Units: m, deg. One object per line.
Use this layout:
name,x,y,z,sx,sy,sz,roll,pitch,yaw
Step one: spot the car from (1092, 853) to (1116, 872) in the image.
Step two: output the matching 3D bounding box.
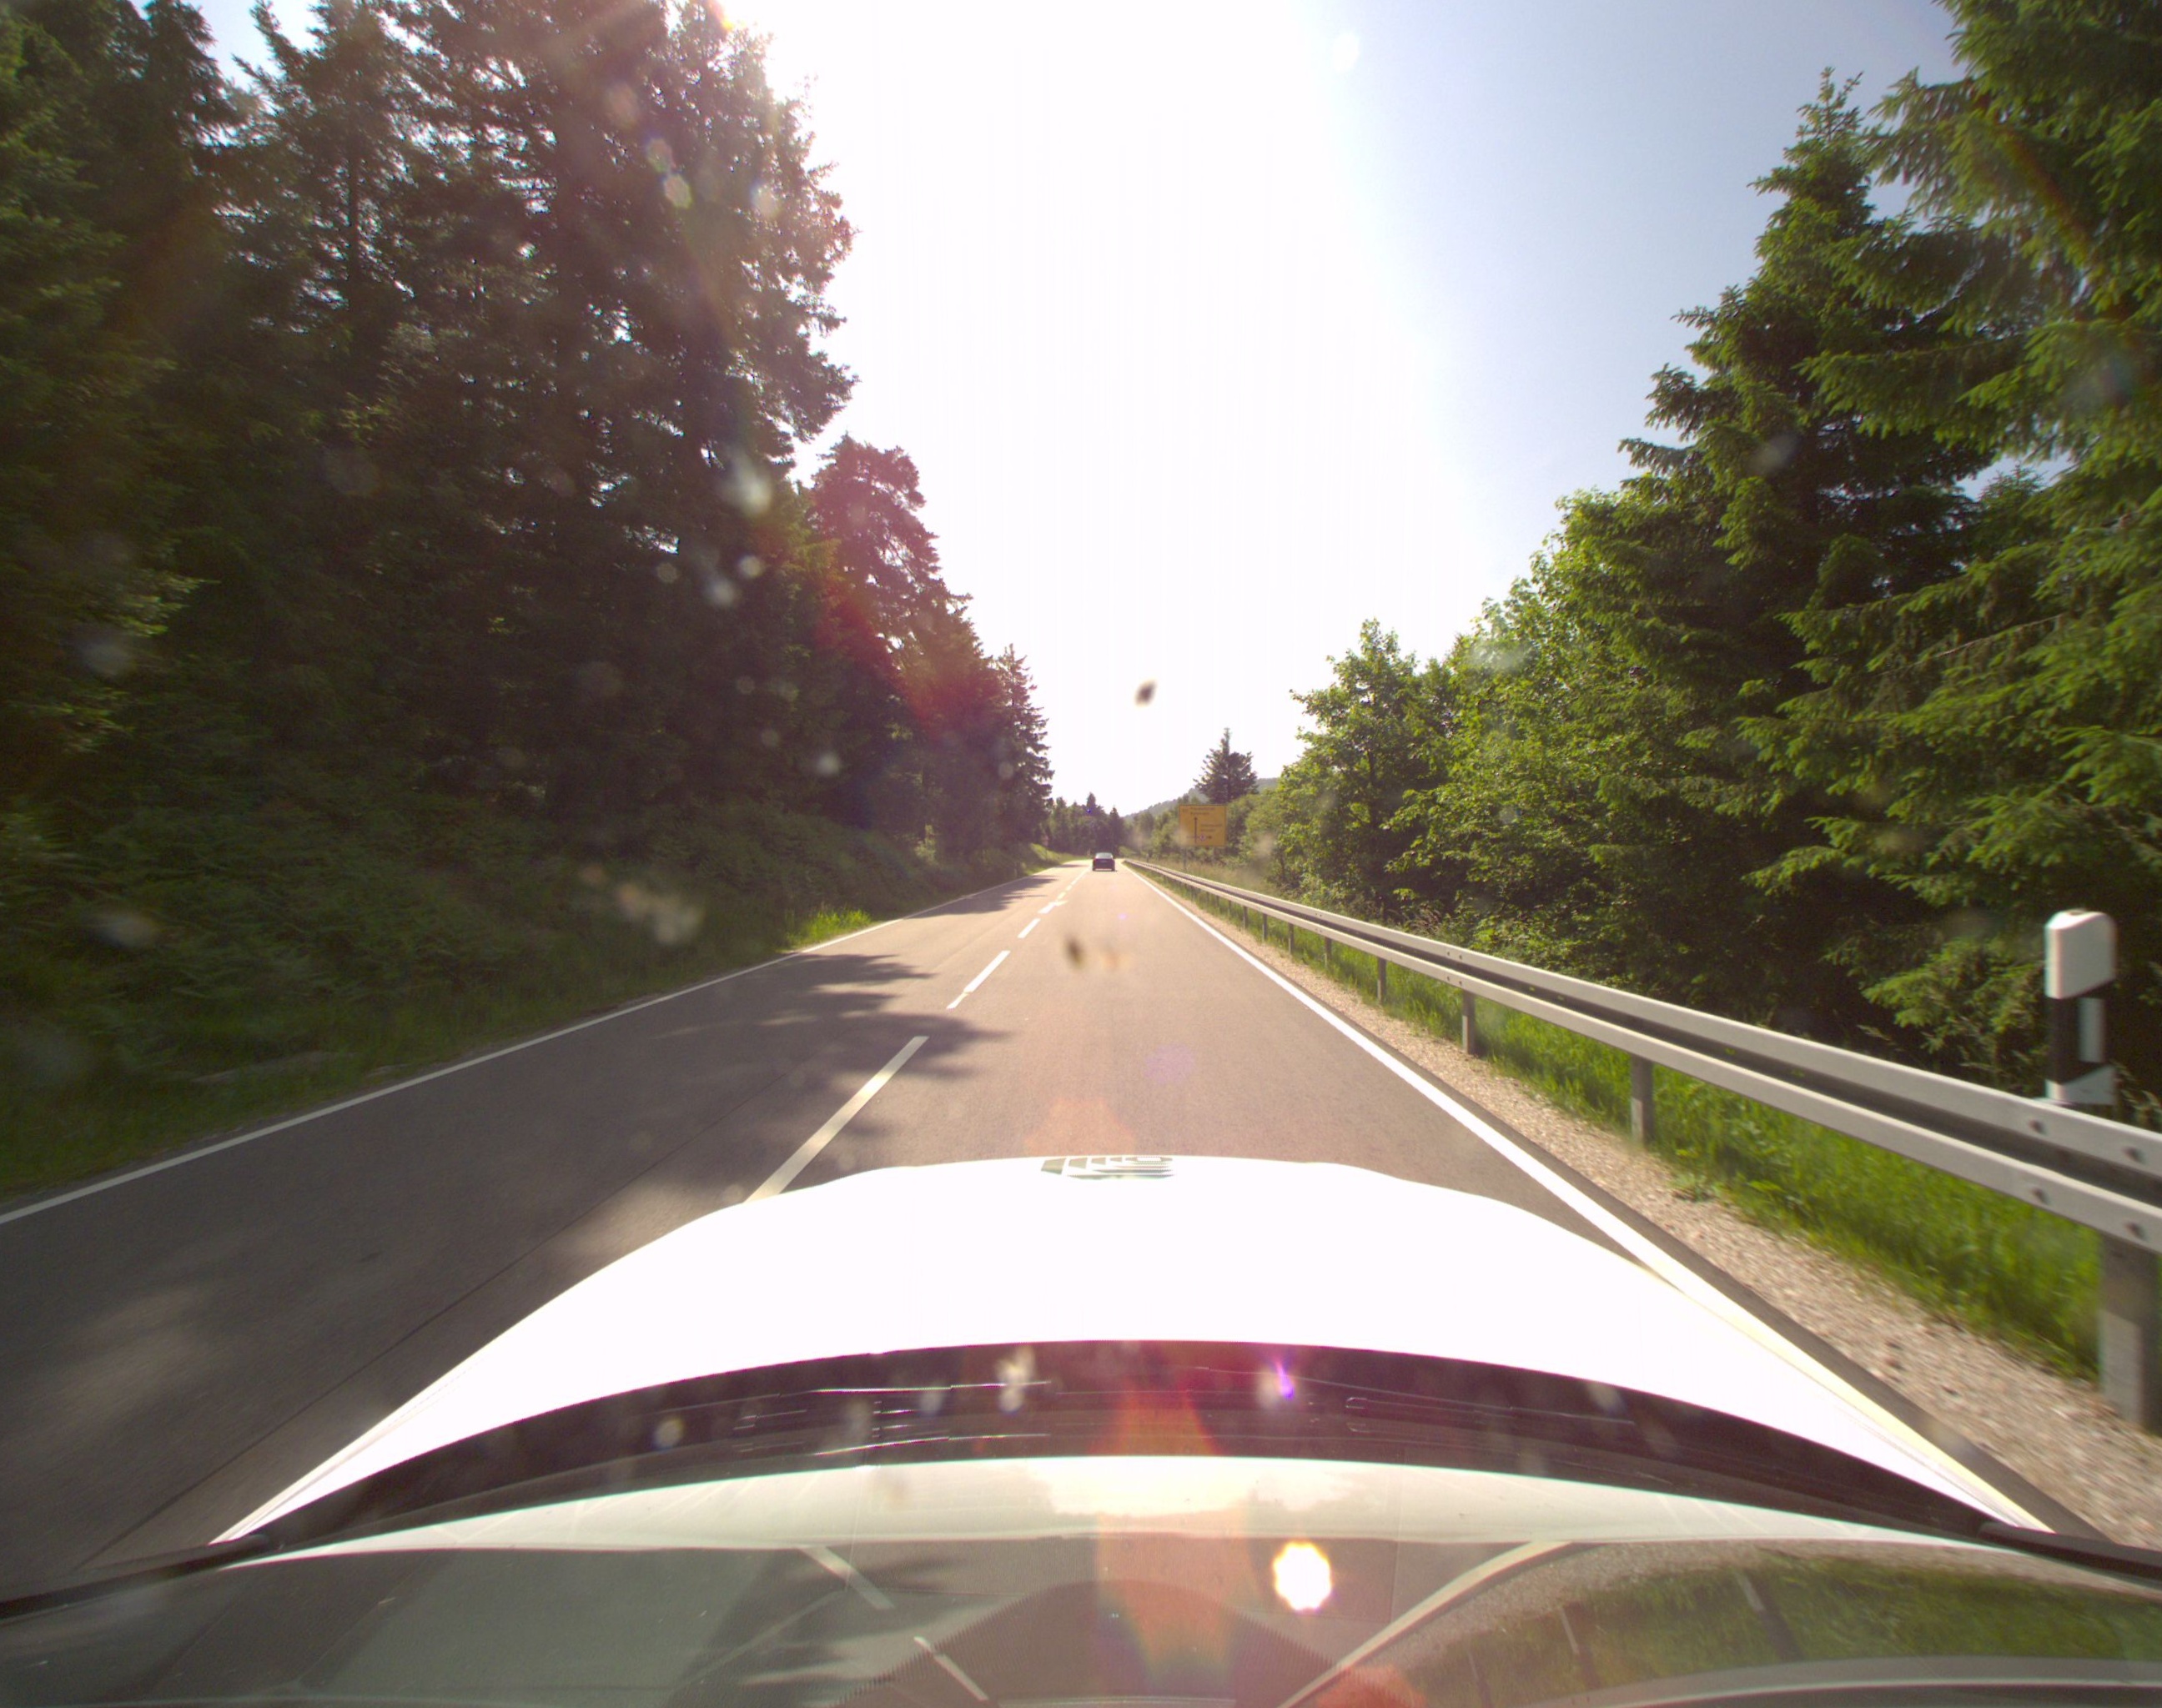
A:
car,1.868,0.672,64.913,1.768,1.442,3.712,0,0,3
